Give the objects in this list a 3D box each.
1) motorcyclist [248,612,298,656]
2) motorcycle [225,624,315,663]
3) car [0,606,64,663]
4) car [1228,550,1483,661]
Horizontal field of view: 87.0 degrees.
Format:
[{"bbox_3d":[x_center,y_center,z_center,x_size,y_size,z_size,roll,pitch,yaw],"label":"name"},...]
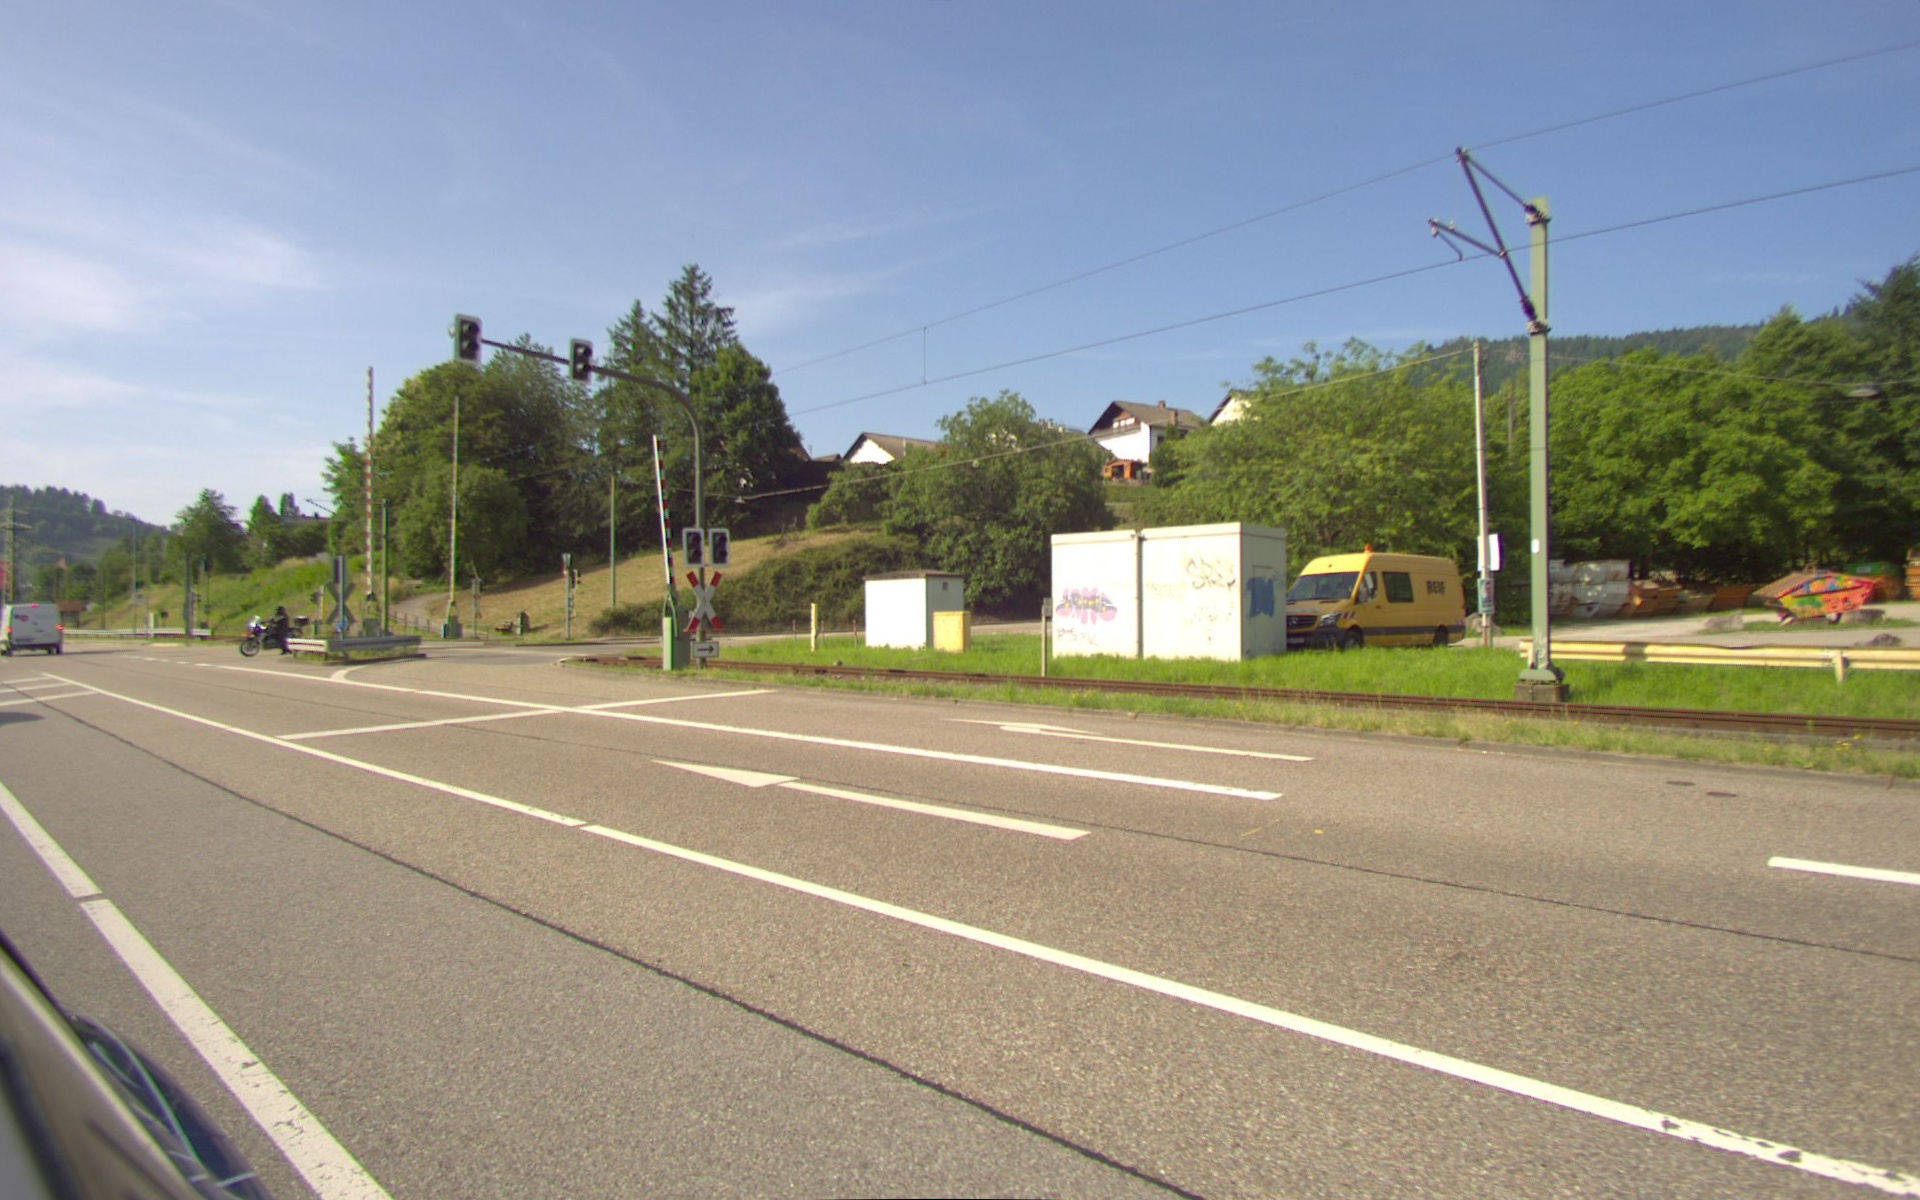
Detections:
[{"bbox_3d":[-25.366,1.253,37.373,0.987,1.555,1.175,-2,1,28],"label":"motorcyclist"},{"bbox_3d":[-25.389,1.570,37.314,1.000,1.278,2.570,-2,0,27],"label":"motorcycle"},{"bbox_3d":[-43.430,1.578,47.054,5.227,2.455,2.096,-2,-1,43],"label":"car"},{"bbox_3d":[10.220,0.100,25.814,6.974,2.475,2.954,-1,-1,-39],"label":"car"}]
